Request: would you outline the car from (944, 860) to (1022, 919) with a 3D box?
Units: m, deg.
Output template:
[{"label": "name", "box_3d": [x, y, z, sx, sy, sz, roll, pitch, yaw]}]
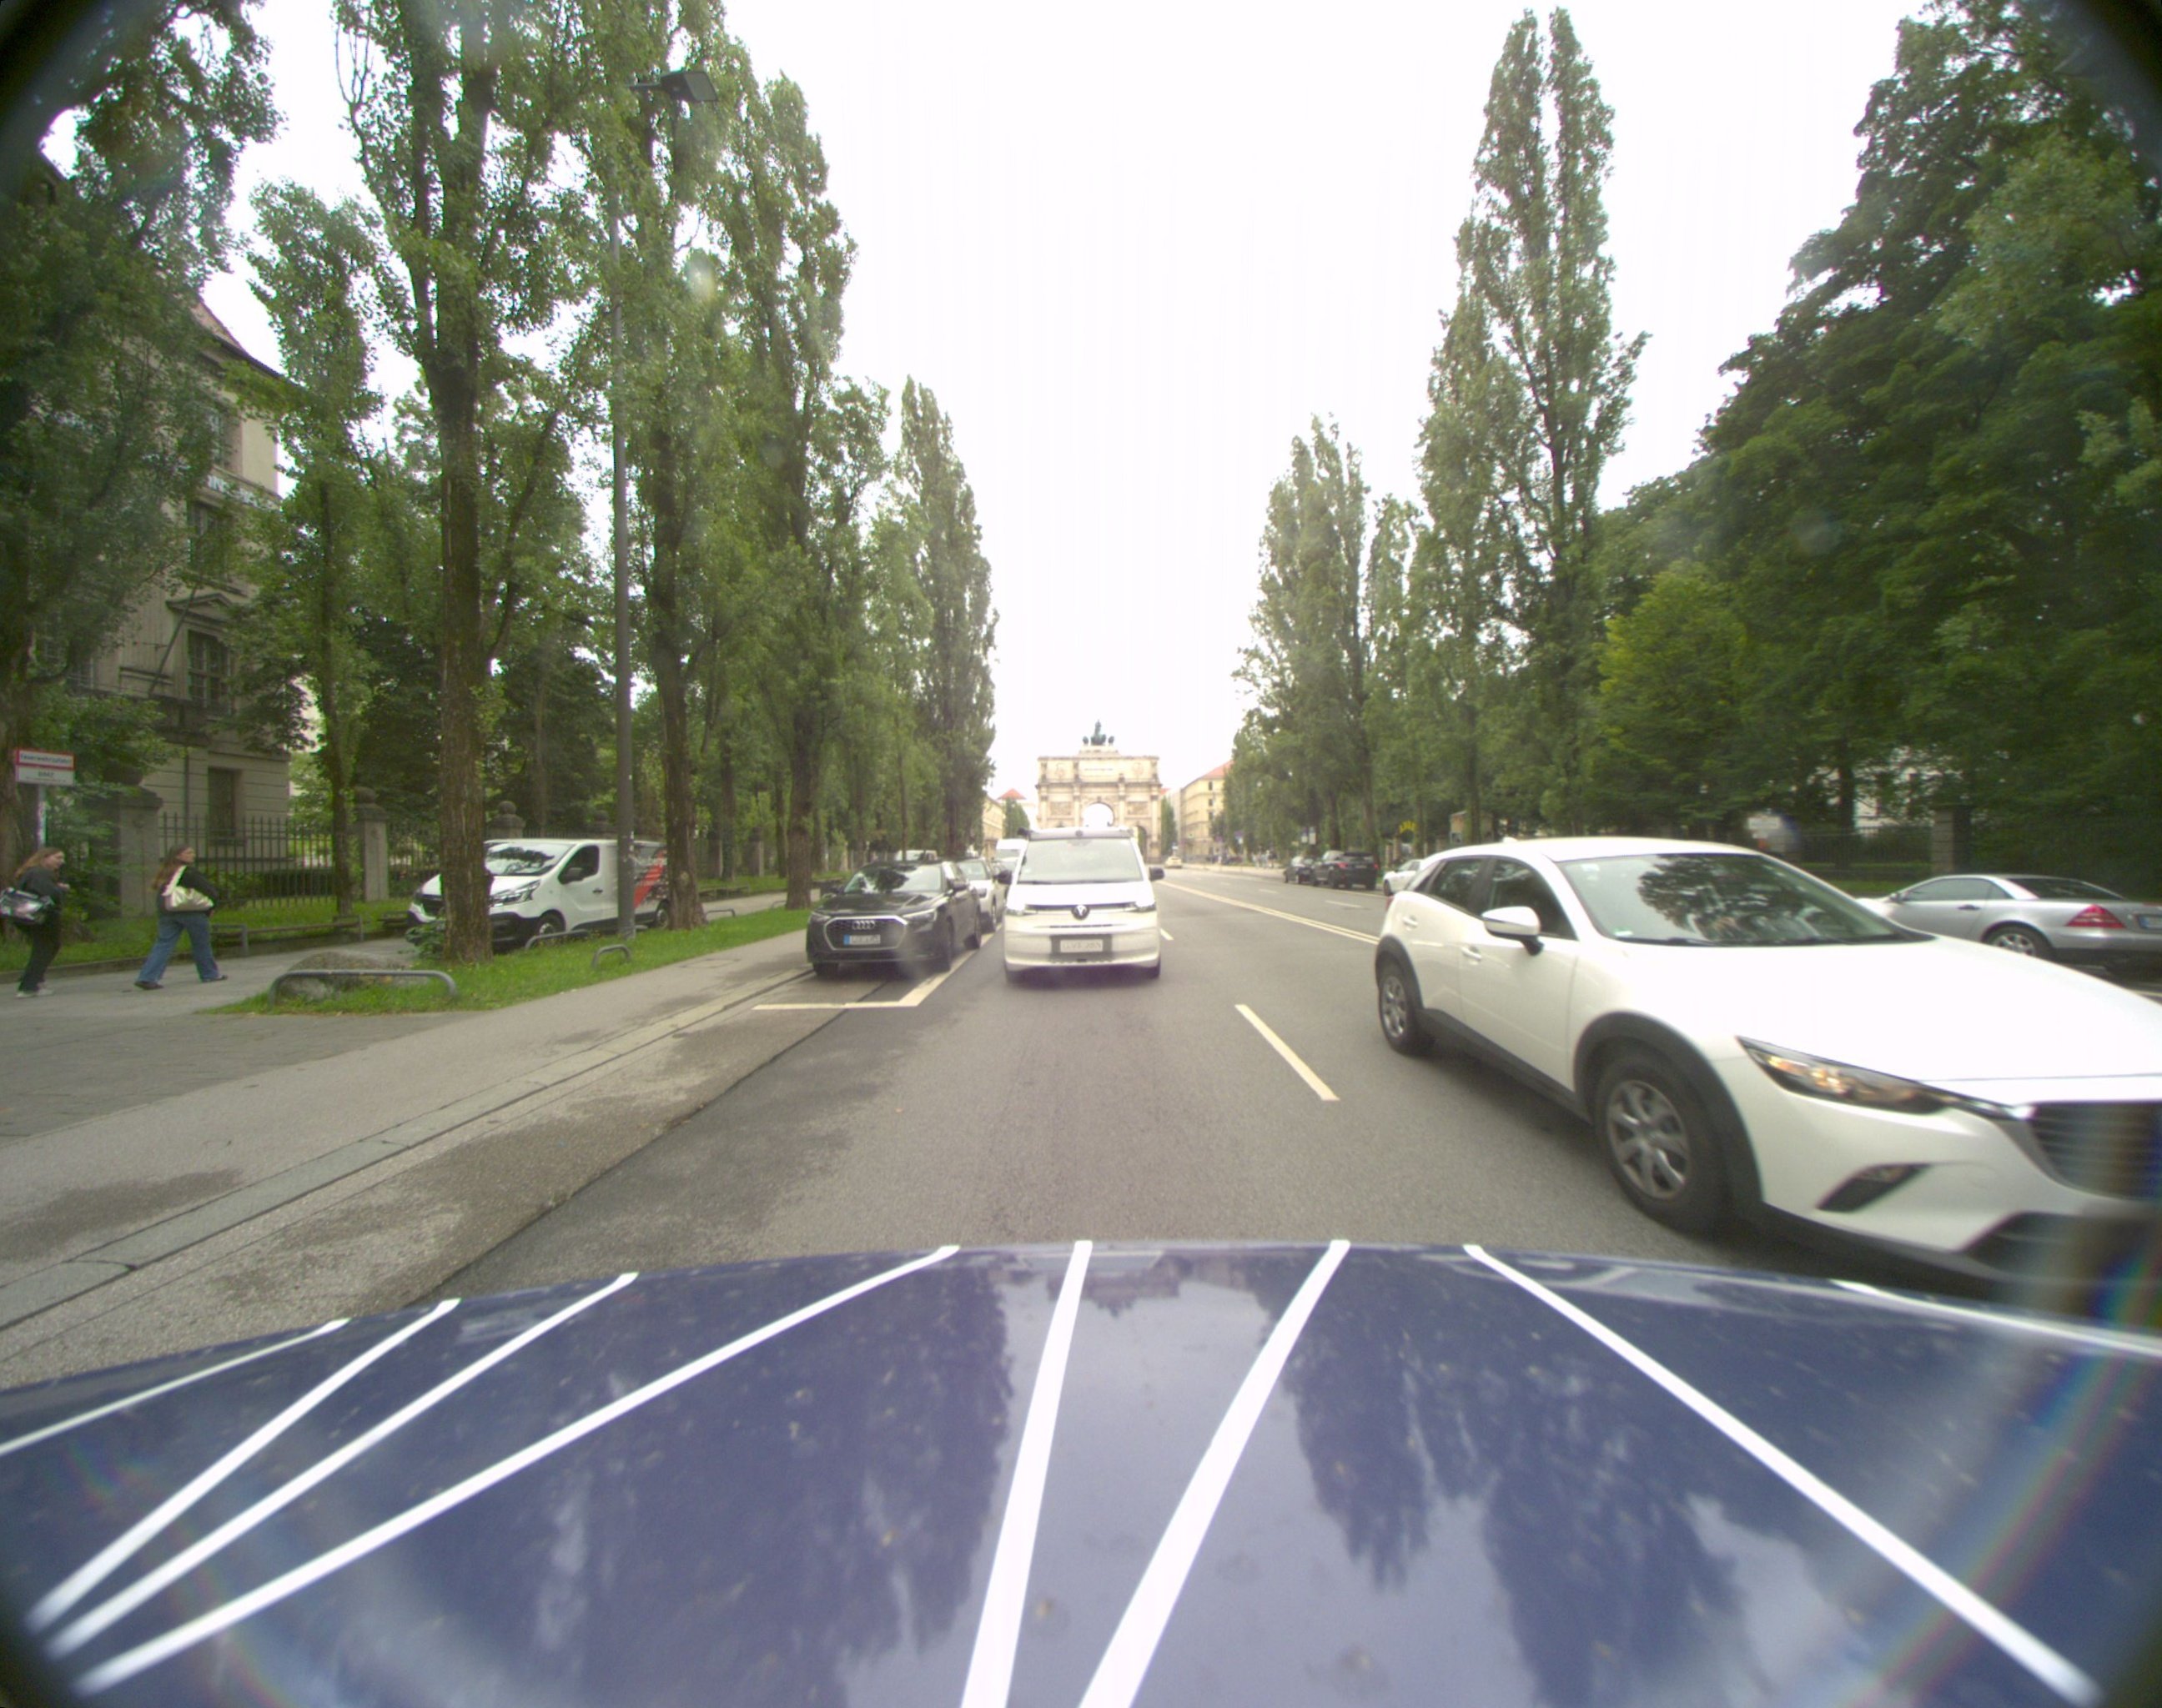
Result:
[{"label": "car", "box_3d": [-2.754, 0.945, 22.115, 1.707, 1.511, 4.295, -1, 0, 0]}]

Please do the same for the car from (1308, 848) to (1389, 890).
[{"label": "car", "box_3d": [12.476, 0.658, 35.782, 2.051, 1.776, 4.799, 1, 0, 0]}]

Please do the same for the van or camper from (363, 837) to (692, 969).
[{"label": "van or camper", "box_3d": [-9.677, 0.742, 14.089, 2.081, 1.922, 5.368, -2, 0, 0]}]

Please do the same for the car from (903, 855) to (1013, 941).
[{"label": "car", "box_3d": [-2.614, 0.862, 17.182, 1.747, 1.665, 4.579, -1, 0, 0]}]

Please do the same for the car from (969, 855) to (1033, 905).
[{"label": "car", "box_3d": [-2.731, 0.861, 27.011, 1.788, 1.608, 4.637, -1, 0, 0]}]

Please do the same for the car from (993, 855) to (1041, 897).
[{"label": "car", "box_3d": [-2.645, 0.859, 32.255, 1.789, 1.639, 4.417, -1, 0, -2]}]

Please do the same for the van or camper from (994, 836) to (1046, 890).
[{"label": "van or camper", "box_3d": [-3.017, 0.395, 39.076, 2.144, 2.525, 6.416, -1, 0, 0]}]

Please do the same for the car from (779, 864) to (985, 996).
[{"label": "car", "box_3d": [-2.692, 0.944, 11.432, 1.885, 1.531, 4.464, -1, 0, 0]}]

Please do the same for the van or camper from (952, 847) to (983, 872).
[{"label": "van or camper", "box_3d": [-9.695, 0.476, 65.465, 2.009, 2.002, 4.985, -2, 0, -2]}]

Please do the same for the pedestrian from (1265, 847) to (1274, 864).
[{"label": "pedestrian", "box_3d": [19.366, 0.140, 78.170, 0.661, 1.706, 0.911, -1, 0, -1]}]

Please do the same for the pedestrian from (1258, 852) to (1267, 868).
[{"label": "pedestrian", "box_3d": [18.638, 0.633, 78.087, 0.689, 1.690, 0.885, -1, 0, -1]}]

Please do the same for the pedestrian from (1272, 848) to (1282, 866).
[{"label": "pedestrian", "box_3d": [19.579, 0.262, 75.876, 0.711, 1.762, 1.092, 0, 1, -1]}]

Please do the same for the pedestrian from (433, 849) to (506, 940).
[{"label": "pedestrian", "box_3d": [-12.301, 0.799, 15.305, 0.723, 1.760, 0.867, 2, 1, 1]}]

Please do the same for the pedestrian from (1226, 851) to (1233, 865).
[{"label": "pedestrian", "box_3d": [17.880, 0.471, 91.453, 0.533, 1.720, 0.583, -1, 0, -11]}]

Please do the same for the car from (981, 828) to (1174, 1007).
[{"label": "car", "box_3d": [-0.017, 0.689, 11.176, 2.064, 1.916, 5.728, -1, 0, 0]}]

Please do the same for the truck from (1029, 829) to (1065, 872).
[{"label": "truck", "box_3d": [-2.949, -0.278, 68.804, 2.852, 3.543, 10.277, -1, 0, -1]}]

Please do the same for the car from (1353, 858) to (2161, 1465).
[{"label": "car", "box_3d": [3.043, 0.798, 3.927, 1.910, 1.516, 4.009, -1, 0, 1]}]

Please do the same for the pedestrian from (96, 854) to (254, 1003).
[{"label": "pedestrian", "box_3d": [-10.896, 0.861, 9.177, 0.855, 1.707, 0.867, 1, 1, -1]}]

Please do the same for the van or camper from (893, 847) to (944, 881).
[{"label": "van or camper", "box_3d": [-9.749, 0.569, 45.979, 1.980, 1.922, 5.037, -2, 0, -1]}]

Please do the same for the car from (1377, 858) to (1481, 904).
[{"label": "car", "box_3d": [12.332, 0.892, 27.249, 1.708, 1.450, 4.272, 1, 0, -1]}]

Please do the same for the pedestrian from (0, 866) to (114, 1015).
[{"label": "pedestrian", "box_3d": [-11.702, 0.931, 8.521, 0.569, 1.569, 0.867, 0, 1, 0]}]

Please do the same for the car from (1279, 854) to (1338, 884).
[{"label": "car", "box_3d": [12.527, 0.785, 42.114, 1.949, 1.574, 4.388, 1, 0, 0]}]

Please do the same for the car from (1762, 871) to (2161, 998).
[{"label": "car", "box_3d": [12.557, 0.991, 10.844, 1.831, 1.326, 4.233, 2, 0, -1]}]

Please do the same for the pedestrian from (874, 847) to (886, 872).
[{"label": "pedestrian", "box_3d": [-15.966, 0.425, 60.291, 0.905, 2.002, 0.956, 0, 1, -16]}]

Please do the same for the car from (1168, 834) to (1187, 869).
[{"label": "car", "box_3d": [11.892, -0.296, 93.778, 1.798, 1.333, 4.448, 14, 40, -7]}]

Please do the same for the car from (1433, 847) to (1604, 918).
[{"label": "car", "box_3d": [12.514, 0.727, 22.230, 1.914, 1.779, 5.179, 2, 0, -1]}]

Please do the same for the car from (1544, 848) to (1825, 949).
[{"label": "car", "box_3d": [12.377, 0.799, 16.151, 1.946, 1.757, 4.894, 2, 0, -2]}]

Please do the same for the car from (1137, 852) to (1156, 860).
[{"label": "car", "box_3d": [14.106, 0.501, 163.971, 2.004, 1.739, 3.989, -1, 0, -40]}]

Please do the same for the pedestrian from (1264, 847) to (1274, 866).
[{"label": "pedestrian", "box_3d": [18.774, 0.262, 75.880, 0.711, 1.823, 1.092, 0, 1, -1]}]
